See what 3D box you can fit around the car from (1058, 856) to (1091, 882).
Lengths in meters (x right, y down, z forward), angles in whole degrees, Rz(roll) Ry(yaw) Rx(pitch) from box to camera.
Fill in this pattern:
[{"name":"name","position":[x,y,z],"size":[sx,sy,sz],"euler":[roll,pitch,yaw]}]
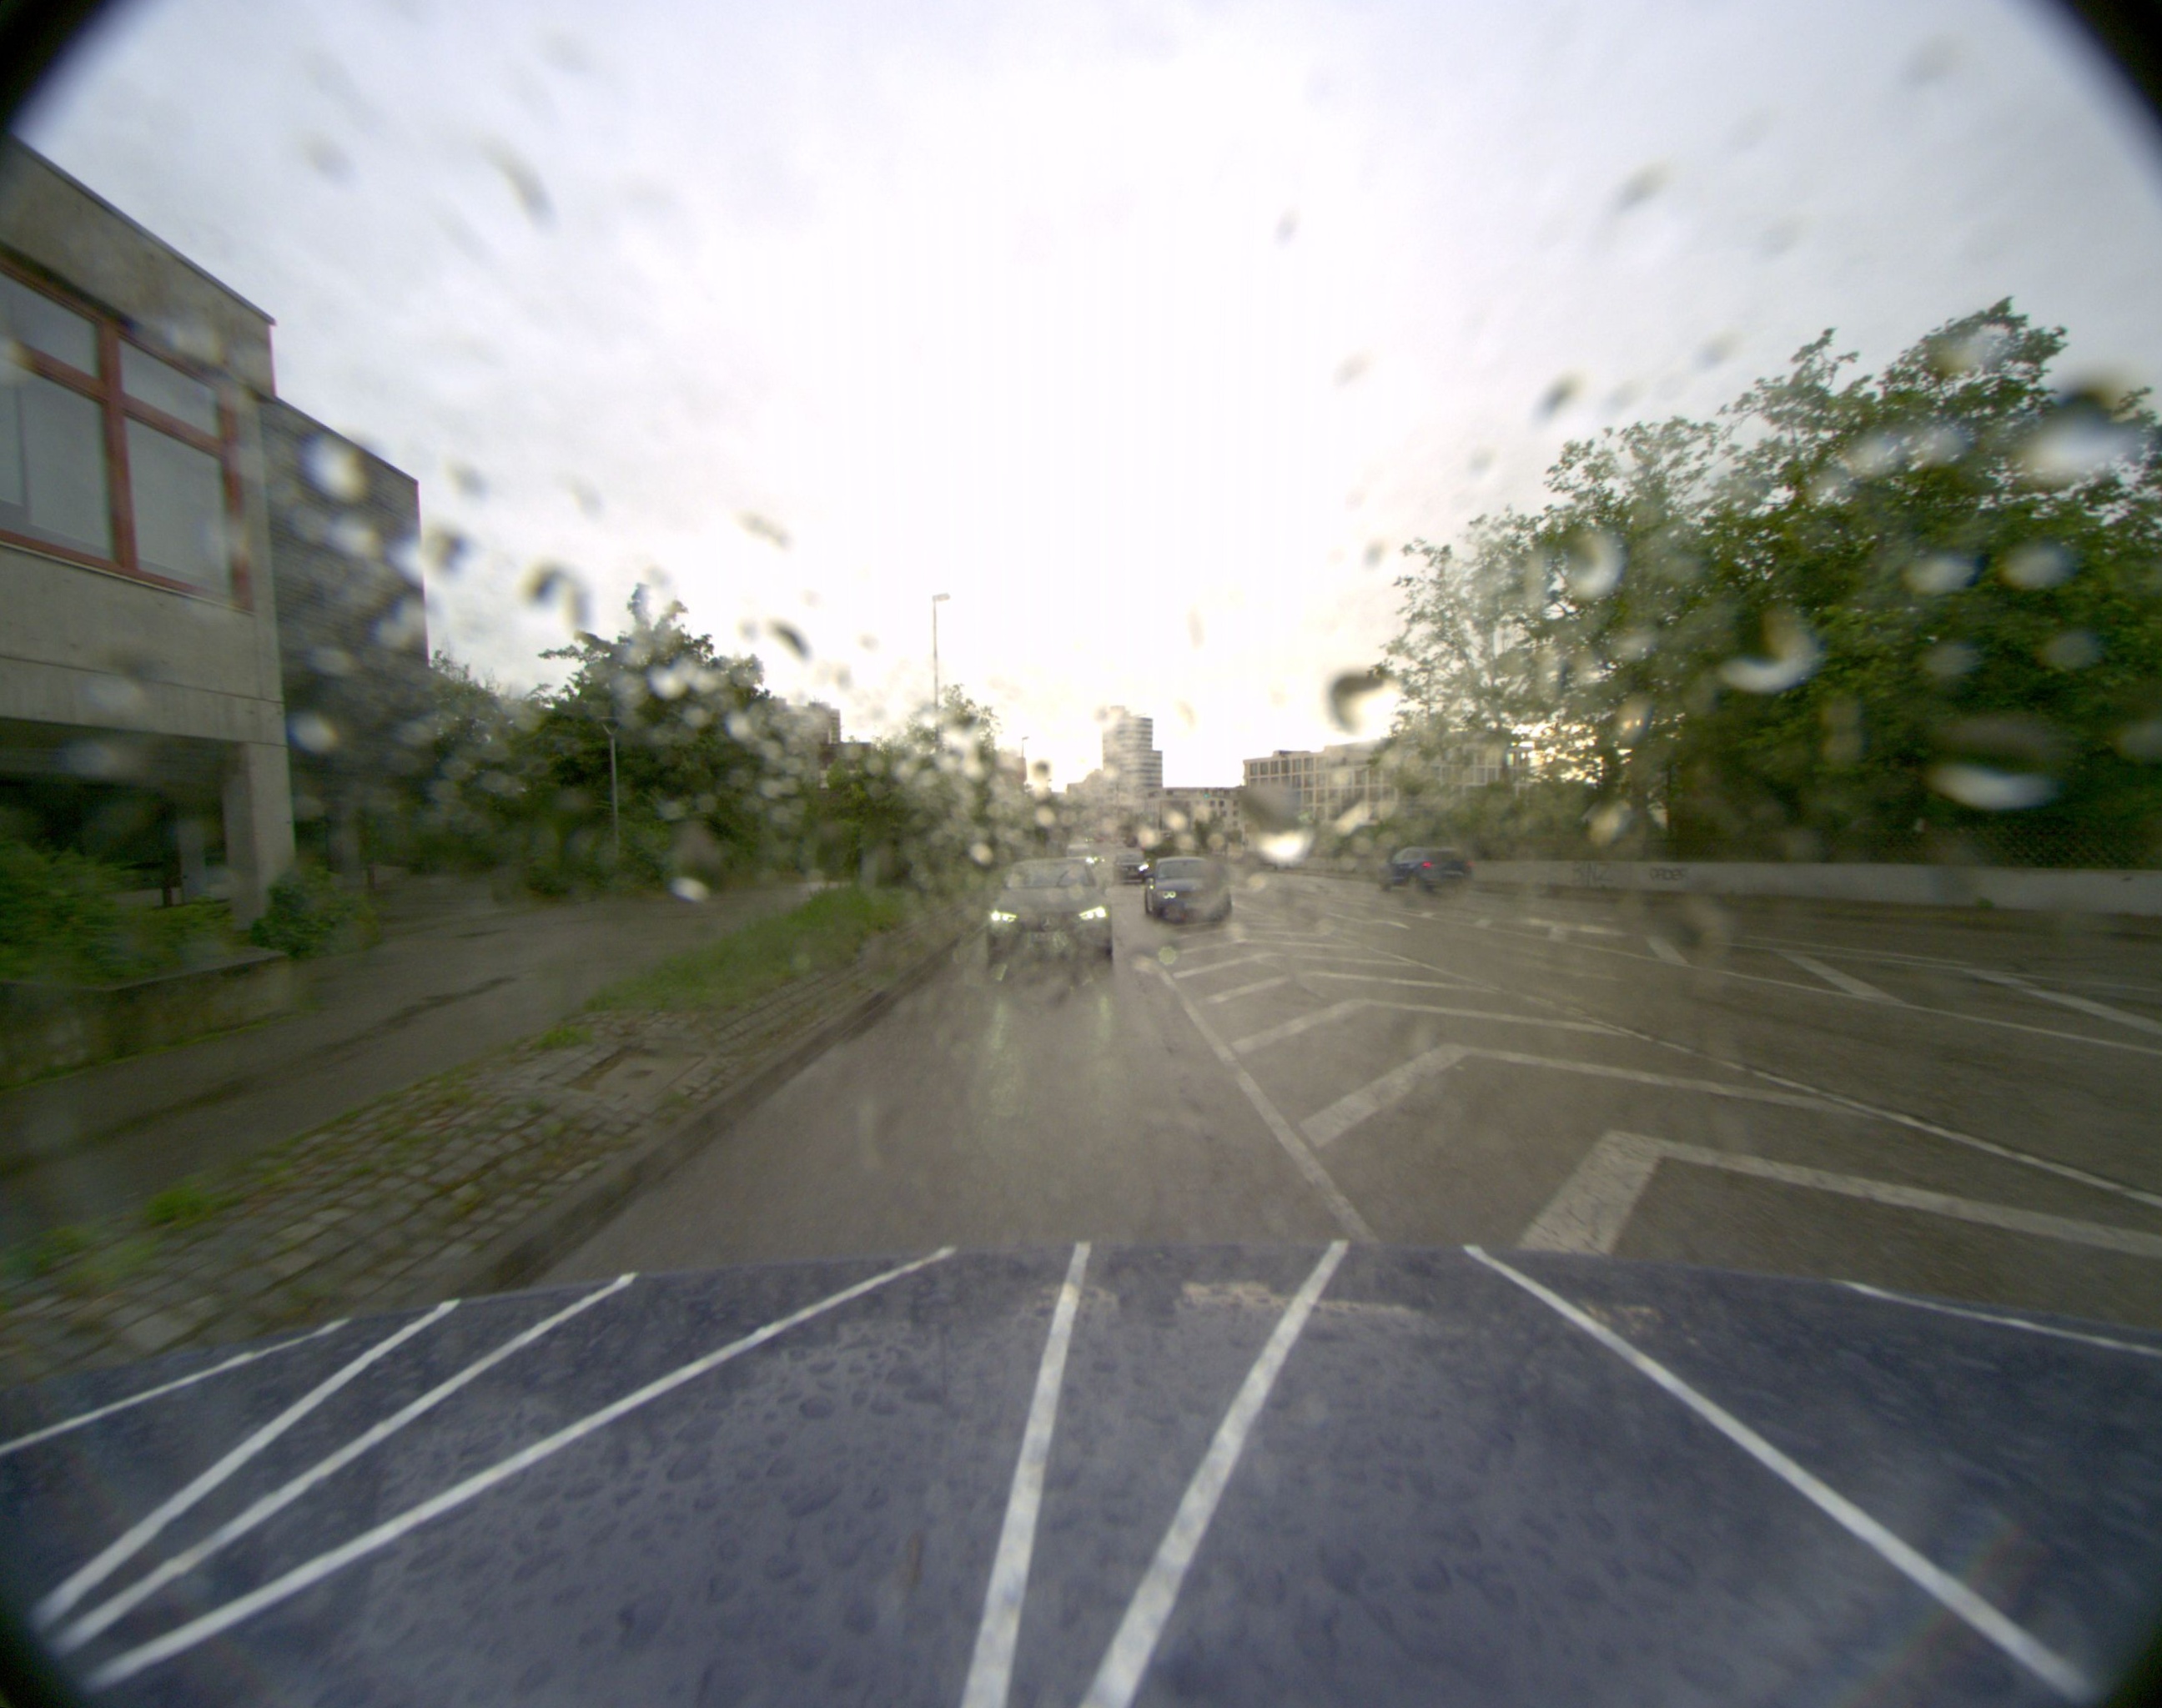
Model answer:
[{"name":"car","position":[-0.376,0.894,47.315],"size":[1.717,1.369,3.735],"euler":[-2,1,4]}]

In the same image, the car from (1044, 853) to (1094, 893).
[{"name":"car","position":[-0.437,0.740,31.931],"size":[1.717,1.389,4.036],"euler":[-2,1,4]}]

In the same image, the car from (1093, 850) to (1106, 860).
[{"name":"car","position":[3.014,0.149,123.524],"size":[1.998,1.543,4.000],"euler":[-1,0,1]}]

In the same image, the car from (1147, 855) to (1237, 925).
[{"name":"car","position":[2.508,0.773,17.872],"size":[1.786,1.335,3.705],"euler":[-2,1,4]}]

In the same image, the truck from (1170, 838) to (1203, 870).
[{"name":"truck","position":[8.488,-0.050,61.397],"size":[2.168,2.426,6.200],"euler":[-1,1,4]}]

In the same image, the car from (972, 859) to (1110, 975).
[{"name":"car","position":[-0.478,0.899,12.903],"size":[1.836,1.436,4.550],"euler":[-3,1,3]}]

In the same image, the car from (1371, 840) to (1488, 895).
[{"name":"car","position":[12.185,0.397,26.961],"size":[1.998,1.683,4.704],"euler":[-2,2,0]}]

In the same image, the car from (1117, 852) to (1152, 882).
[{"name":"car","position":[2.809,0.651,39.826],"size":[1.717,1.369,3.735],"euler":[-2,1,4]}]

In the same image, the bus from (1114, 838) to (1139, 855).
[{"name":"bus","position":[10.931,-1.919,184.866],"size":[2.952,3.973,18.213],"euler":[0,2,-6]}]

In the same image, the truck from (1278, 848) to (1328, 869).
[{"name":"truck","position":[28.934,0.600,98.987],"size":[6.182,2.524,2.223],"euler":[0,2,-21]}]

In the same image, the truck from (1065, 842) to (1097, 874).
[{"name":"truck","position":[0.086,0.257,62.835],"size":[2.168,2.426,6.200],"euler":[-1,1,4]}]
